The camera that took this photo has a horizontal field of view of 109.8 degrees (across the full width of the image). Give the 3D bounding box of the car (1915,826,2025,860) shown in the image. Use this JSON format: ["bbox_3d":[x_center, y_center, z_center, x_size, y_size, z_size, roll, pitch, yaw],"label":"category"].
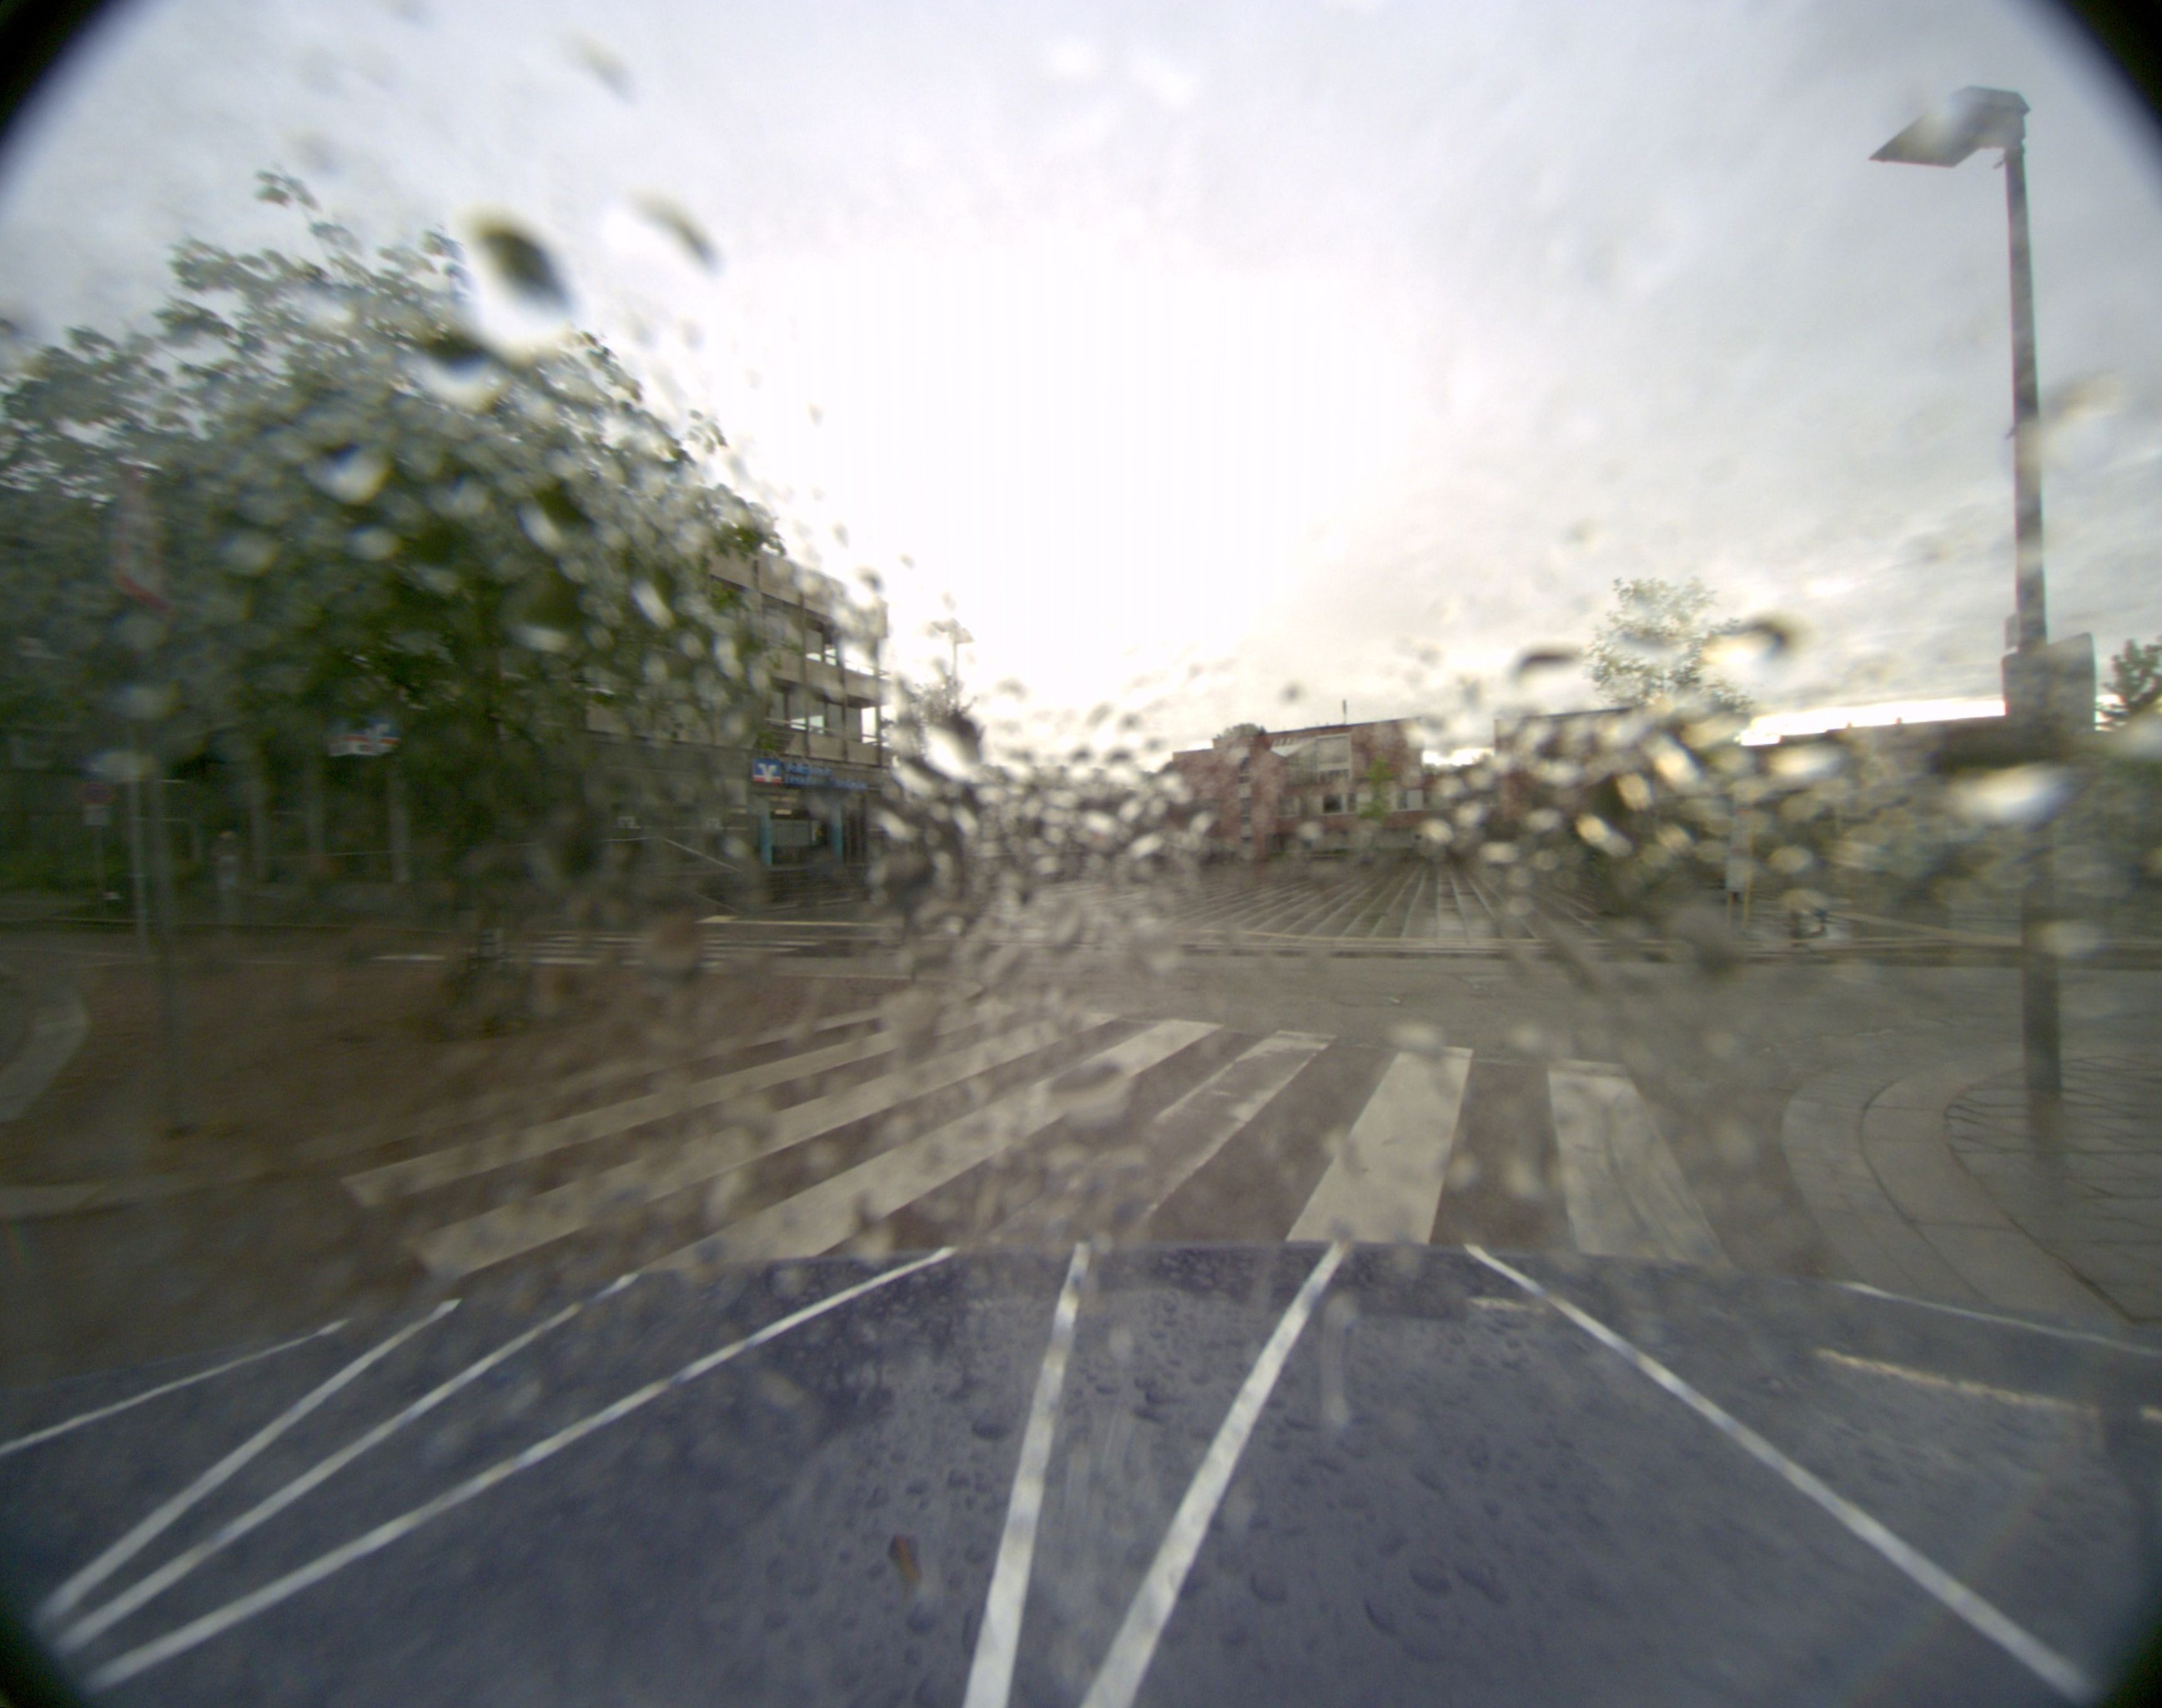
[{"bbox_3d":[59.884,-0.739,51.306,4.366,2.205,2.003,-1,2,23],"label":"car"}]

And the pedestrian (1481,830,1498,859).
[{"bbox_3d":[28.663,-0.702,53.331,0.864,2.002,0.730,-3,2,-30],"label":"pedestrian"}]

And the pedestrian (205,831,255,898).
[{"bbox_3d":[-23.905,0.278,21.343,0.813,1.820,0.839,2,3,39],"label":"pedestrian"}]

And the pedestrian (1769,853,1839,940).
[{"bbox_3d":[13.878,0.793,14.603,0.692,1.608,0.731,-1,2,15],"label":"pedestrian"}]

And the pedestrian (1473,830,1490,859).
[{"bbox_3d":[27.877,-0.666,52.875,0.864,2.002,0.730,-3,2,-30],"label":"pedestrian"}]
